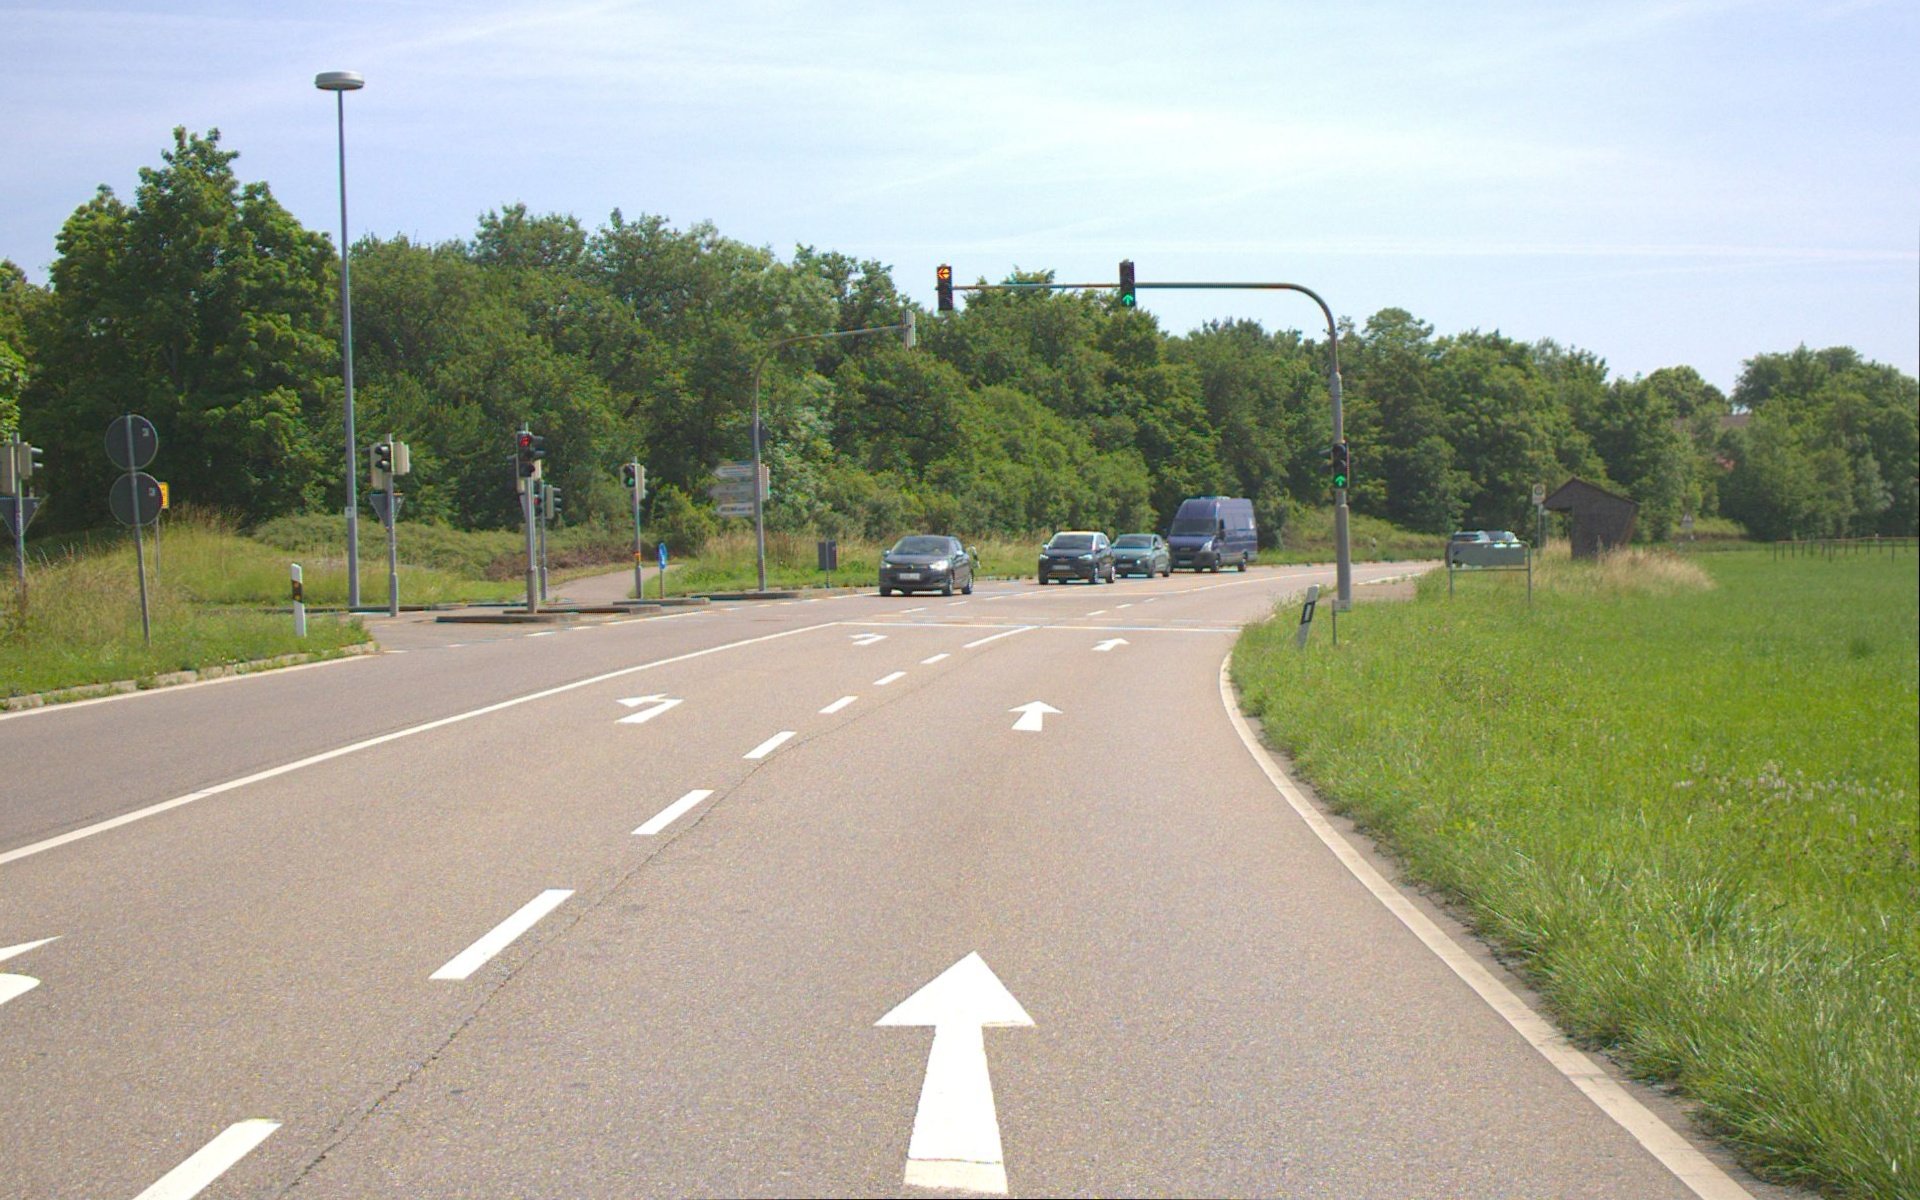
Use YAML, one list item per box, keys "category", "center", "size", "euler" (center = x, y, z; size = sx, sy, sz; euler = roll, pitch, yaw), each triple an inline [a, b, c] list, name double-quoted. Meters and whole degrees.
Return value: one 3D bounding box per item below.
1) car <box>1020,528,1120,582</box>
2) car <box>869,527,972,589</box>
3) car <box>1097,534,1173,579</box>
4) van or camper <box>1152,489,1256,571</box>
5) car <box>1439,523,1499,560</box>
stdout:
- category: "car"
  center: [3.327, -1.352, 102.998]
  size: [1.976, 1.557, 4.186]
  euler: [0, 1, 17]
- category: "car"
  center: [-0.941, -1.050, 84.532]
  size: [1.792, 1.469, 4.309]
  euler: [0, 1, 10]
- category: "car"
  center: [5.949, -1.488, 116.373]
  size: [1.708, 1.478, 3.829]
  euler: [0, 1, 16]
- category: "van or camper"
  center: [9.234, -2.676, 129.457]
  size: [2.241, 2.904, 7.241]
  euler: [0, 2, 18]
- category: "car"
  center: [21.915, -2.511, 147.969]
  size: [1.995, 1.568, 3.997]
  euler: [0, 1, 17]
